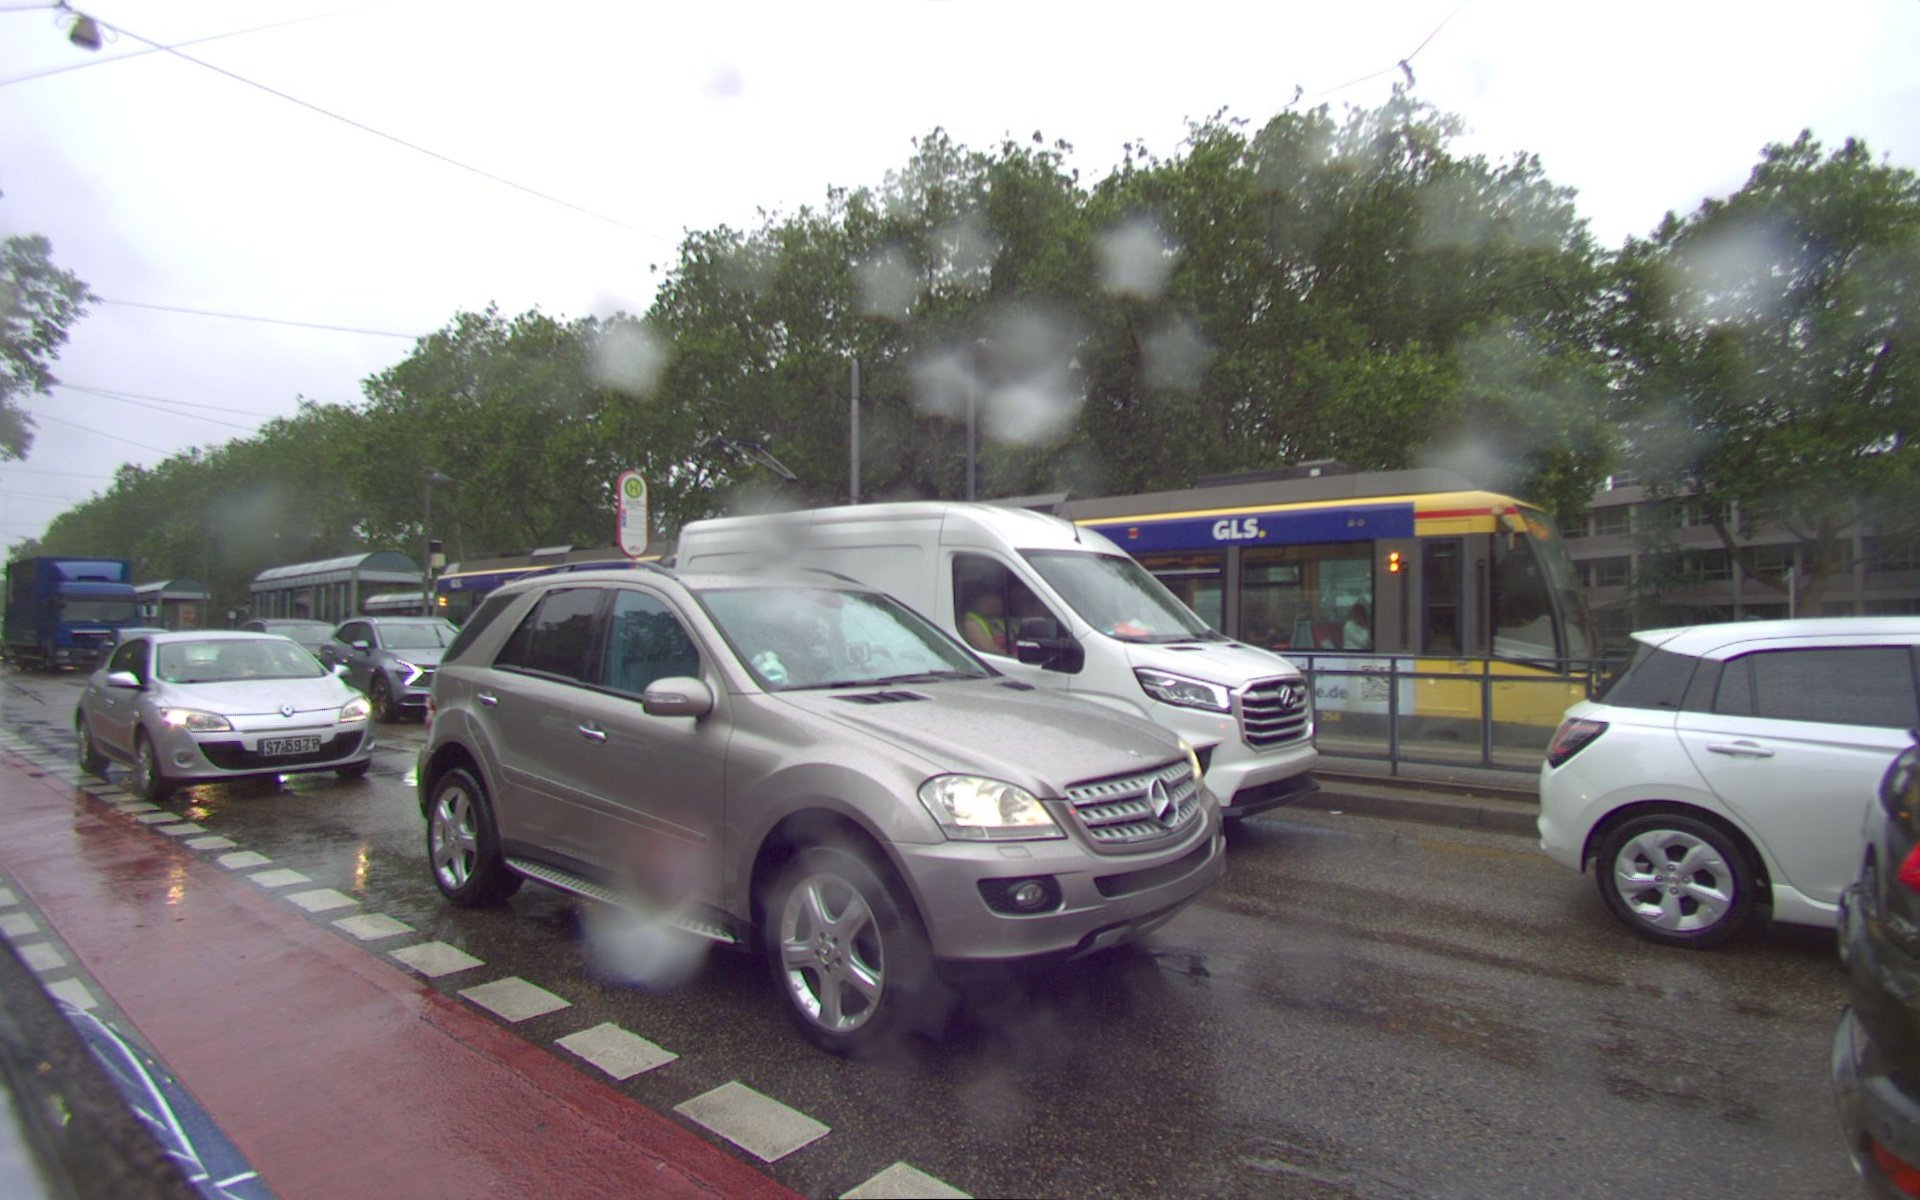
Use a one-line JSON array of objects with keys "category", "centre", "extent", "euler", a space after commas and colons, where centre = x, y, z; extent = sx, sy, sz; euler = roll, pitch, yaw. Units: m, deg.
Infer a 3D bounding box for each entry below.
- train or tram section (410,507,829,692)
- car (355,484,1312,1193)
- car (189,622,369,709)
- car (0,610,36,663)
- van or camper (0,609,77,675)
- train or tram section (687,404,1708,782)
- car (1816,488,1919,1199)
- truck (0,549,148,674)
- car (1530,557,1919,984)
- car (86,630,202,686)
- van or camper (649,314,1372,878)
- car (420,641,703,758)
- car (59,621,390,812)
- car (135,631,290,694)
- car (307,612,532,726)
[{"category": "train or tram section", "centre": [-9.128, 0.093, 25.173], "extent": [13.652, 3.539, 3.476], "euler": [-1, 0, 41]}, {"category": "car", "centre": [-0.921, 0.644, 4.776], "extent": [4.459, 1.784, 2.004], "euler": [-1, -1, 40]}, {"category": "car", "centre": [-14.307, 1.305, 21.191], "extent": [4.316, 1.633, 1.973], "euler": [-1, -2, 40]}, {"category": "car", "centre": [-46.330, 1.758, 48.937], "extent": [5.727, 2.445, 1.972], "euler": [-2, 0, 43]}, {"category": "van or camper", "centre": [-39.596, 1.753, 43.189], "extent": [6.427, 2.590, 1.973], "euler": [-1, 0, 41]}, {"category": "train or tram section", "centre": [1.767, 0.061, 15.626], "extent": [15.496, 3.439, 3.504], "euler": [-1, 0, 41]}, {"category": "car", "centre": [3.579, 0.631, 0.970], "extent": [4.170, 1.681, 1.815], "euler": [-1, -1, 41]}, {"category": "truck", "centre": [-31.773, 0.518, 35.925], "extent": [9.803, 3.919, 2.513], "euler": [-1, -4, 40]}, {"category": "car", "centre": [4.676, 0.662, 4.135], "extent": [3.834, 1.641, 1.628], "euler": [-1, -2, 41]}, {"category": "car", "centre": [-23.986, 1.648, 29.713], "extent": [4.074, 1.498, 1.871], "euler": [-1, -2, 40]}, {"category": "van or camper", "centre": [0.052, 0.050, 8.370], "extent": [5.846, 3.166, 2.136], "euler": [-1, -3, 40]}, {"category": "car", "centre": [-4.942, 1.096, 12.269], "extent": [4.084, 1.126, 1.448], "euler": [-1, -1, 40]}, {"category": "car", "centre": [-7.352, 0.971, 9.979], "extent": [3.998, 1.489, 1.750], "euler": [-1, -1, 40]}, {"category": "car", "centre": [-18.392, 1.479, 24.837], "extent": [4.602, 1.405, 1.973], "euler": [-1, -3, 40]}, {"category": "car", "centre": [-9.016, 1.061, 16.726], "extent": [4.454, 1.636, 1.894], "euler": [-1, -3, 43]}]
